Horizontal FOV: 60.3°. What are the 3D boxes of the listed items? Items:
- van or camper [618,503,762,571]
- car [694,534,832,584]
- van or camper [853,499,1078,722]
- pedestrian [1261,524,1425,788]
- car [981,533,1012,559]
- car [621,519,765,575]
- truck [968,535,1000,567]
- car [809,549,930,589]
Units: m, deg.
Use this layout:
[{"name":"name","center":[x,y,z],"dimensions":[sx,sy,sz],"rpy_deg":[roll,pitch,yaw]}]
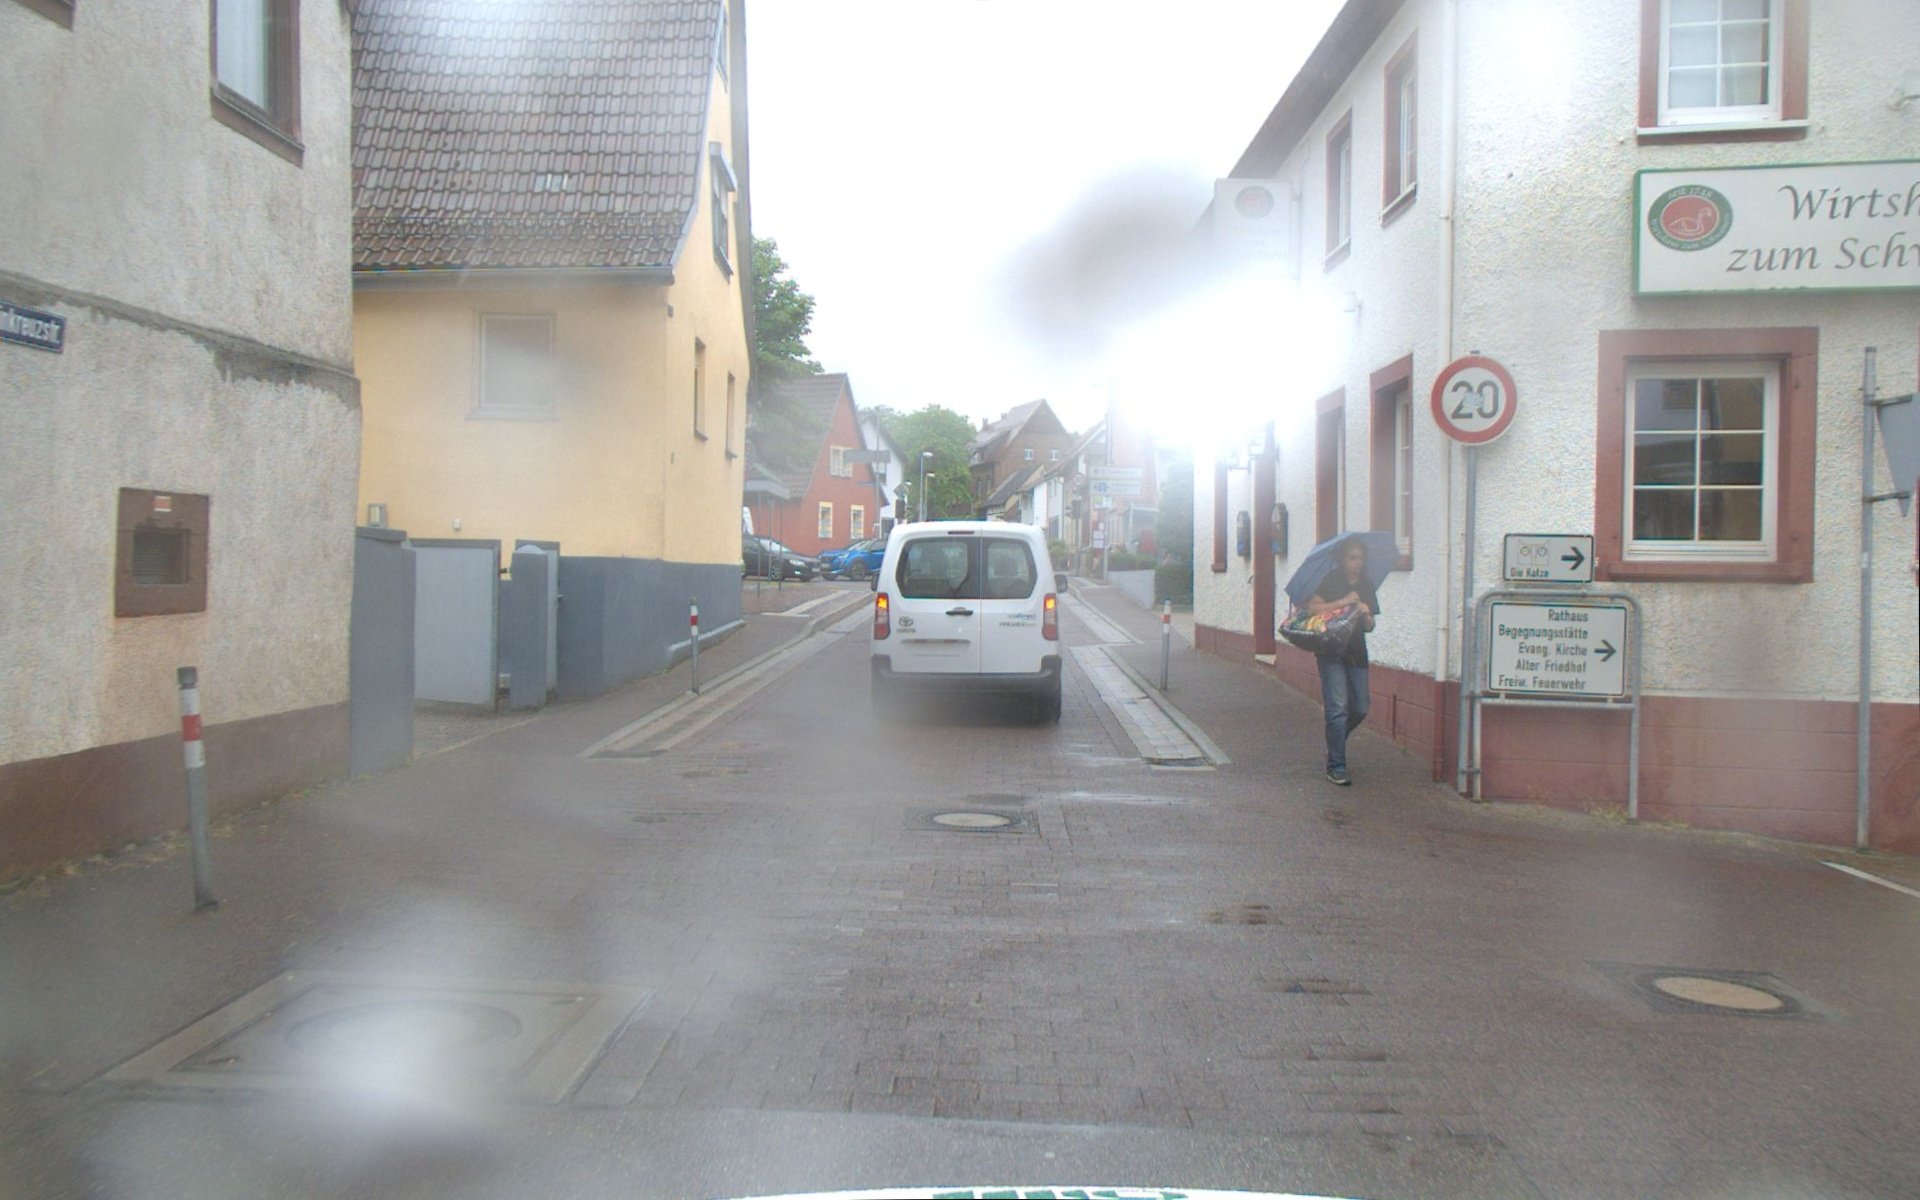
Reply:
[{"name":"van or camper","center":[-10.218,-2.430,62.558],"dimensions":[5.043,2.477,2.209],"rpy_deg":[2,3,27]},{"name":"car","center":[-6.656,-1.391,55.920],"dimensions":[4.210,1.502,1.851],"rpy_deg":[3,1,16]},{"name":"van or camper","center":[0.025,0.041,16.478],"dimensions":[1.904,1.883,4.000],"rpy_deg":[2,1,-1]},{"name":"pedestrian","center":[2.669,0.364,11.627],"dimensions":[0.973,1.766,0.812],"rpy_deg":[1,3,4]},{"name":"car","center":[2.516,-3.739,114.965],"dimensions":[1.953,1.777,3.999],"rpy_deg":[0,1,-1]},{"name":"car","center":[-8.848,-1.787,54.877],"dimensions":[4.356,1.576,1.883],"rpy_deg":[4,5,22]},{"name":"truck","center":[1.831,-3.801,128.686],"dimensions":[2.303,2.468,4.949],"rpy_deg":[0,1,-1]},{"name":"car","center":[-3.262,-1.106,59.917],"dimensions":[3.956,1.397,2.084],"rpy_deg":[0,1,-37]}]
